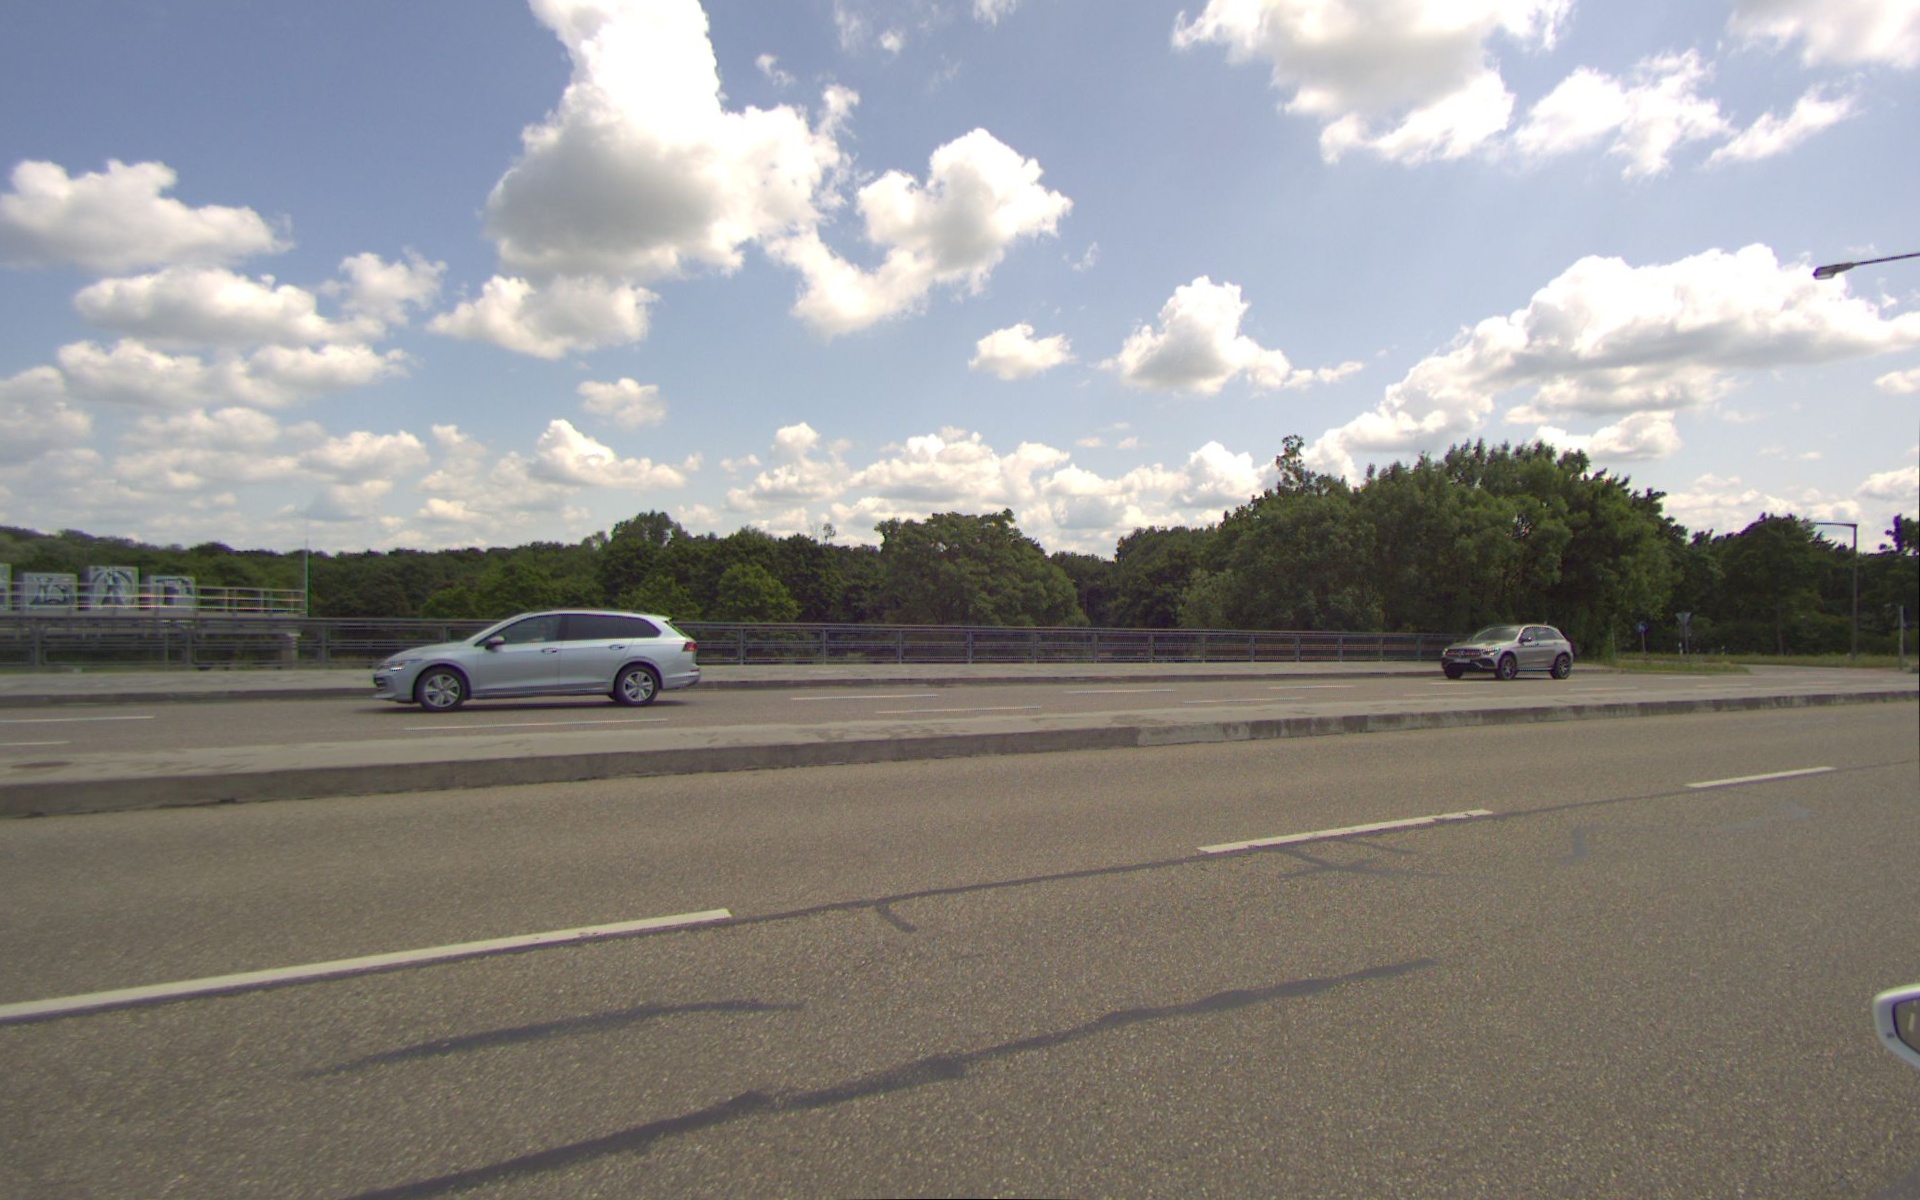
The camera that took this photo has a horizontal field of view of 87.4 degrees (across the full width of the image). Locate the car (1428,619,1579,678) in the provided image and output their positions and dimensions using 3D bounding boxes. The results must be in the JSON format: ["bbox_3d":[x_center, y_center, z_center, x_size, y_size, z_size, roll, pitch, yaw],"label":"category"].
[{"bbox_3d":[16.526,1.433,30.497,4.499,1.648,2.077,1,-2,-32],"label":"car"}]

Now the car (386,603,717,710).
[{"bbox_3d":[-6.150,0.820,15.365,4.493,1.432,1.657,1,-3,-29],"label":"car"}]
